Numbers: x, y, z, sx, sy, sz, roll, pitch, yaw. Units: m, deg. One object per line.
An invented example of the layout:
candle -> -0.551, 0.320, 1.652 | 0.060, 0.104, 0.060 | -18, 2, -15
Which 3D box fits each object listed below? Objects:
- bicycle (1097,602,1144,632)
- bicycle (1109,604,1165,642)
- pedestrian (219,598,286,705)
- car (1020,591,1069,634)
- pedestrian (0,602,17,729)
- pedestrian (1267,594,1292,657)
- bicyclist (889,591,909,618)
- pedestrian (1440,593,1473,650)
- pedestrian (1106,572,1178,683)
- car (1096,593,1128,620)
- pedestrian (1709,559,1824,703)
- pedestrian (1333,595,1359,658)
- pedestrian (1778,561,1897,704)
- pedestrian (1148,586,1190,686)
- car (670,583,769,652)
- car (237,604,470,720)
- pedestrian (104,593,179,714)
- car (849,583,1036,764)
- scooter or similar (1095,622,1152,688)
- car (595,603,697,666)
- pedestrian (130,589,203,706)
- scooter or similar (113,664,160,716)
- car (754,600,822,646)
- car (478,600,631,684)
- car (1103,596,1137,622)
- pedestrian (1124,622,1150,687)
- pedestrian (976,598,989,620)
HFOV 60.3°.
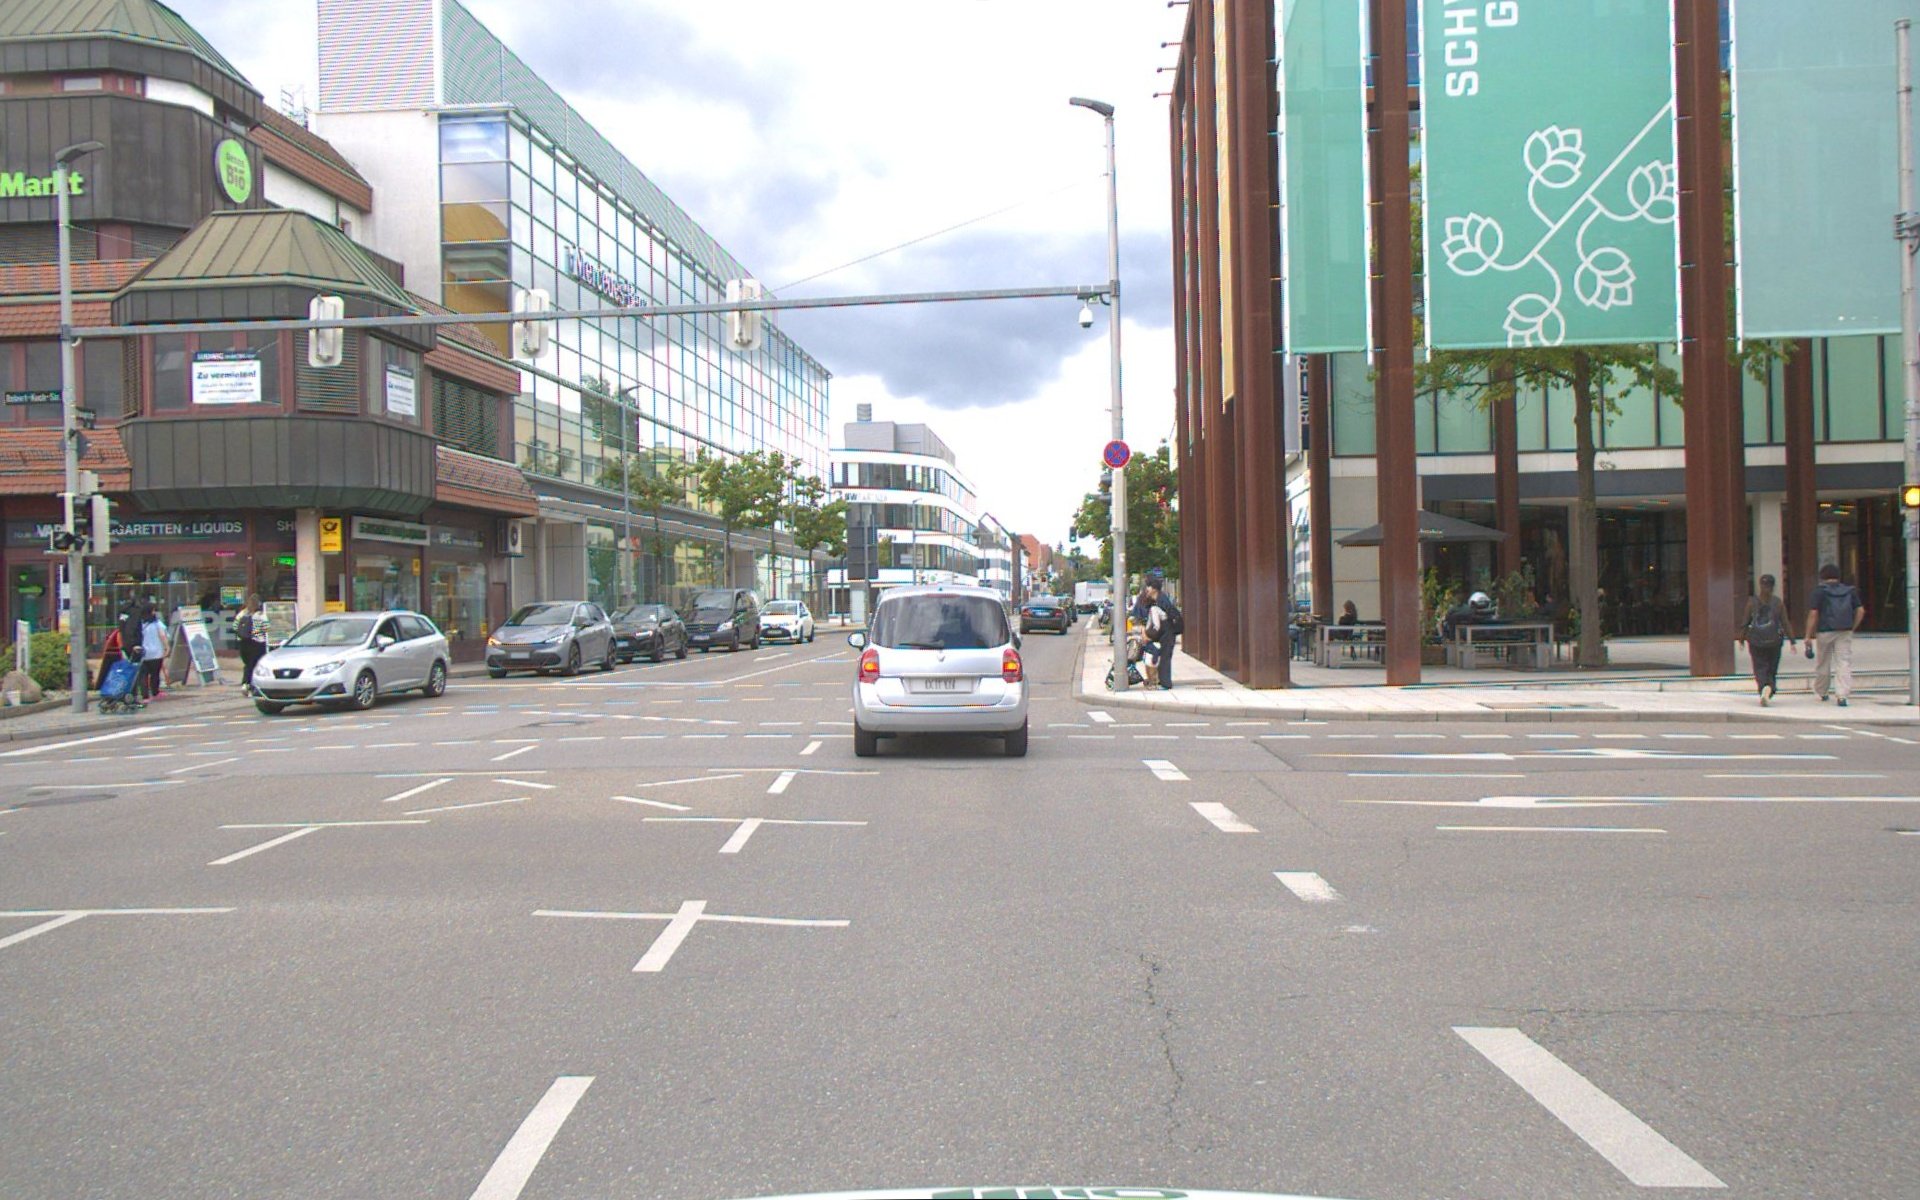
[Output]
bicycle -> 6.469, 0.687, 66.746 | 1.787, 1.093, 0.753 | -2, 0, 3
bicycle -> 5.007, 0.649, 46.824 | 1.527, 1.010, 0.753 | -1, 0, 8
pedestrian -> -11.676, 0.843, 27.318 | 0.733, 1.722, 0.777 | -1, 0, 0
car -> 3.296, 0.471, 63.970 | 1.634, 1.581, 3.645 | 1, 0, 6
pedestrian -> -13.703, 0.928, 22.891 | 0.686, 1.743, 0.812 | -1, 2, 23
pedestrian -> 6.413, 0.501, 33.194 | 0.438, 1.241, 0.607 | -1, 0, 7
bicyclist -> -3.912, 0.302, 106.712 | 0.992, 1.689, 0.926 | 1, -1, -24
pedestrian -> 11.109, 0.477, 37.038 | 0.504, 1.229, 0.796 | -1, 1, 3
pedestrian -> 2.809, 0.412, 25.486 | 0.856, 1.675, 0.677 | -1, 0, 39
car -> 8.958, 0.375, 97.445 | 1.838, 1.535, 4.002 | 1, 0, 5
pedestrian -> 9.937, 0.376, 20.412 | 0.860, 1.711, 1.120 | -1, 0, 2
pedestrian -> 7.700, 0.516, 33.017 | 0.438, 1.241, 0.607 | -1, 0, 9
pedestrian -> 10.847, 0.389, 20.479 | 0.860, 1.711, 1.120 | -1, 0, 2
pedestrian -> 3.080, 0.522, 24.352 | 0.588, 1.445, 0.583 | -1, 0, 7
car -> -7.298, 0.502, 50.708 | 1.826, 1.943, 5.117 | -2, 0, 5
car -> -9.383, 0.906, 25.960 | 1.600, 1.442, 4.203 | -3, 1, 7
pedestrian -> -12.662, 0.809, 25.594 | 0.794, 1.840, 0.745 | 0, 0, -4
car -> -0.077, 0.645, 16.522 | 1.635, 1.581, 3.643 | 1, 0, 2
scooter or similar -> 2.470, 0.822, 24.943 | 0.623, 0.978, 0.618 | -1, 0, 38
car -> -7.989, 0.847, 42.368 | 1.666, 1.468, 4.001 | -1, 0, 3
pedestrian -> -12.650, 0.746, 26.387 | 0.794, 1.840, 0.774 | 0, 0, -4
scooter or similar -> -12.414, 1.350, 24.945 | 0.445, 0.739, 0.538 | -1, 0, -3
car -> -6.076, 0.793, 58.773 | 1.625, 1.491, 4.002 | -2, 0, 5
car -> -8.528, 0.839, 35.205 | 1.721, 1.543, 4.390 | -2, 1, 6
car -> 8.790, 0.466, 90.975 | 1.838, 1.358, 4.002 | 1, 0, 5
pedestrian -> 2.617, 0.802, 24.416 | 0.354, 0.940, 0.455 | -1, 0, 7
pedestrian -> 1.956, 0.806, 144.715 | 0.940, 1.865, 1.251 | -2, 0, 5
